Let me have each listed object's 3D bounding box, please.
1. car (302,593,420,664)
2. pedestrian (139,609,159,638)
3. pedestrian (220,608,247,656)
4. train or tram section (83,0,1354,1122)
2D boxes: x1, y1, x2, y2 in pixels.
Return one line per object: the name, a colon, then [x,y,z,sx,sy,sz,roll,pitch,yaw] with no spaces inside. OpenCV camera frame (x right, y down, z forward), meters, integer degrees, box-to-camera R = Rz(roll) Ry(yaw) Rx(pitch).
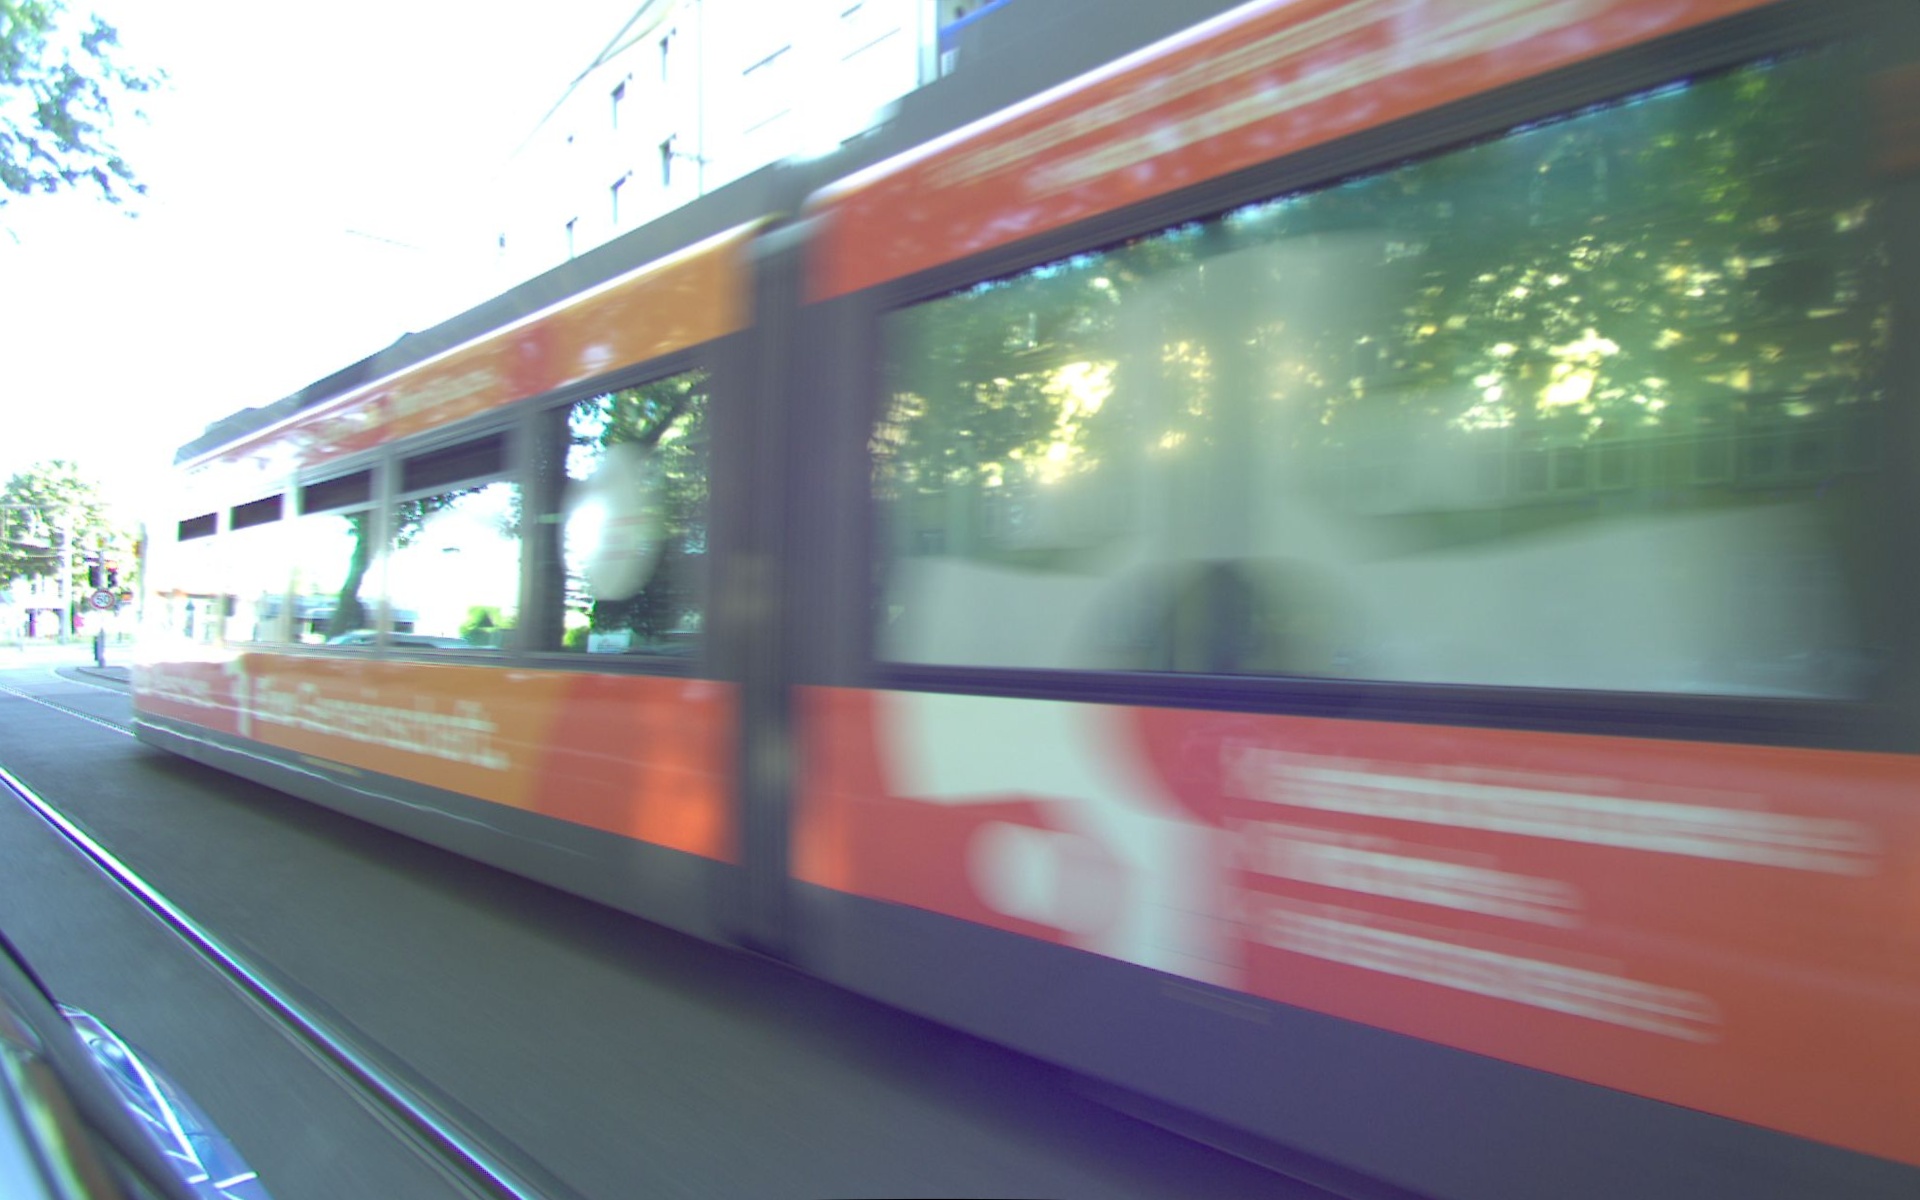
car: [-16.865,0.796,28.424,1.970,1.846,4.228,2,-2,-43]
pedestrian: [-57.202,1.655,71.381,0.858,2.029,0.902,-2,-1,36]
pedestrian: [-25.901,1.139,36.106,0.742,1.693,0.795,0,-1,-34]
train or tram section: [-4.052,-0.236,8.253,13.362,3.512,2.878,-1,-1,41]
